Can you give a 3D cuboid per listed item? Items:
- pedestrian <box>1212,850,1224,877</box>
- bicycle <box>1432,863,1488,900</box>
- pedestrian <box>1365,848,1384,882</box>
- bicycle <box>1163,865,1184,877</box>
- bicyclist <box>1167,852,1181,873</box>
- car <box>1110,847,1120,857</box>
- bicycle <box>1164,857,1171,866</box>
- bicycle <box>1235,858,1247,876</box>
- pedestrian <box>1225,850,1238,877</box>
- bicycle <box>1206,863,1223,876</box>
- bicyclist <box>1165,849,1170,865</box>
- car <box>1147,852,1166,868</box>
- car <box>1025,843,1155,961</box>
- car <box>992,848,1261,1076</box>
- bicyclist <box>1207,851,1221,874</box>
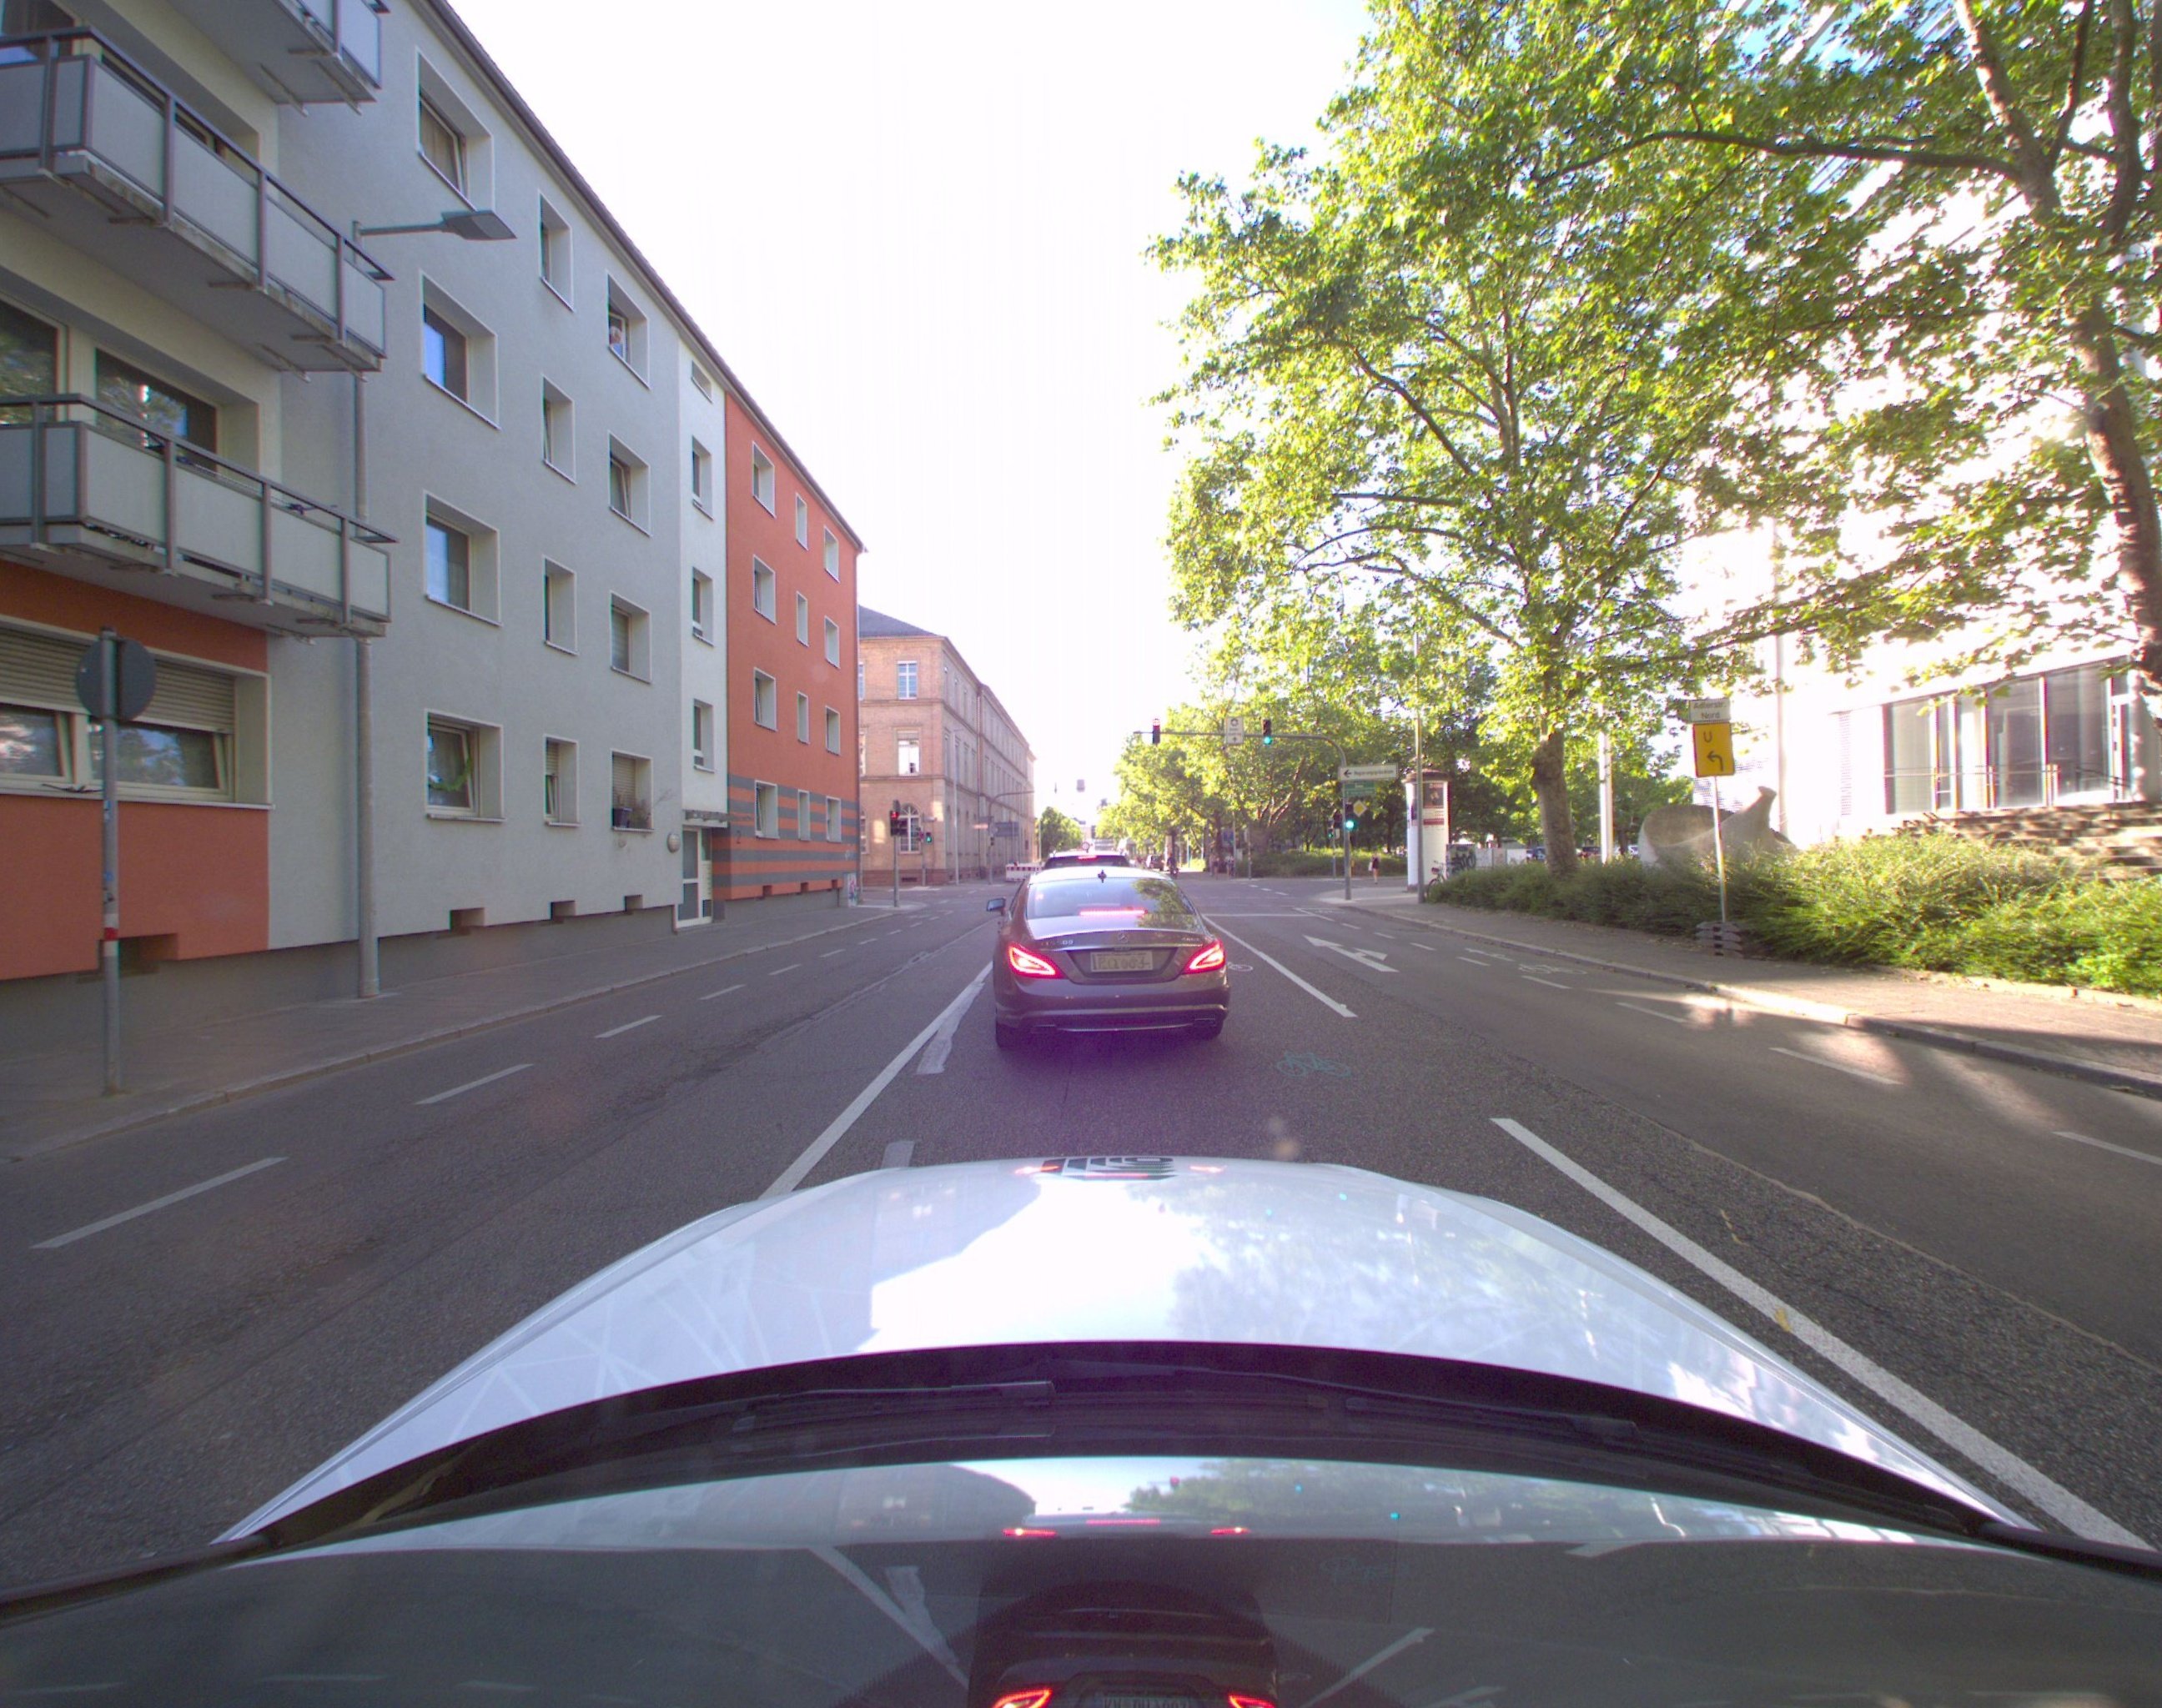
[{"bbox_3d":[9.020,0.626,53.752,0.634,1.797,0.698,0,-1,-2],"label":"pedestrian"},{"bbox_3d":[10.984,0.781,23.568,1.895,1.028,0.635,0,-1,-36],"label":"bicycle"},{"bbox_3d":[13.518,0.499,37.495,0.632,1.545,0.912,0,-1,7],"label":"pedestrian"},{"bbox_3d":[6.375,1.167,55.863,0.716,0.791,1.940,-1,-1,30],"label":"bicycle"},{"bbox_3d":[6.367,0.601,55.856,0.726,1.398,0.703,-1,-1,30],"label":"bicyclist"},{"bbox_3d":[5.892,-0.385,140.940,1.725,1.662,3.682,0,-1,2],"label":"car"},{"bbox_3d":[11.151,0.966,104.904,0.590,1.263,1.804,0,-1,-3],"label":"bicycle"},{"bbox_3d":[10.495,0.839,53.365,0.480,1.202,1.607,0,-1,2],"label":"bicycle"},{"bbox_3d":[9.881,0.621,53.475,0.634,1.760,0.698,0,-1,-2],"label":"pedestrian"},{"bbox_3d":[9.455,1.087,57.880,0.825,0.924,2.618,0,-1,2],"label":"bicycle"},{"bbox_3d":[11.150,0.342,104.885,0.593,2.039,0.566,0,-1,-2],"label":"bicyclist"},{"bbox_3d":[8.476,0.662,91.638,1.854,1.764,4.483,-1,0,2],"label":"car"},{"bbox_3d":[0.191,0.695,13.729,1.854,1.682,4.002,-1,0,2],"label":"car"},{"bbox_3d":[0.143,0.736,7.594,1.859,1.519,3.992,-1,0,-6],"label":"car"},{"bbox_3d":[9.462,0.585,57.934,0.822,1.618,0.958,0,-1,1],"label":"bicyclist"}]
